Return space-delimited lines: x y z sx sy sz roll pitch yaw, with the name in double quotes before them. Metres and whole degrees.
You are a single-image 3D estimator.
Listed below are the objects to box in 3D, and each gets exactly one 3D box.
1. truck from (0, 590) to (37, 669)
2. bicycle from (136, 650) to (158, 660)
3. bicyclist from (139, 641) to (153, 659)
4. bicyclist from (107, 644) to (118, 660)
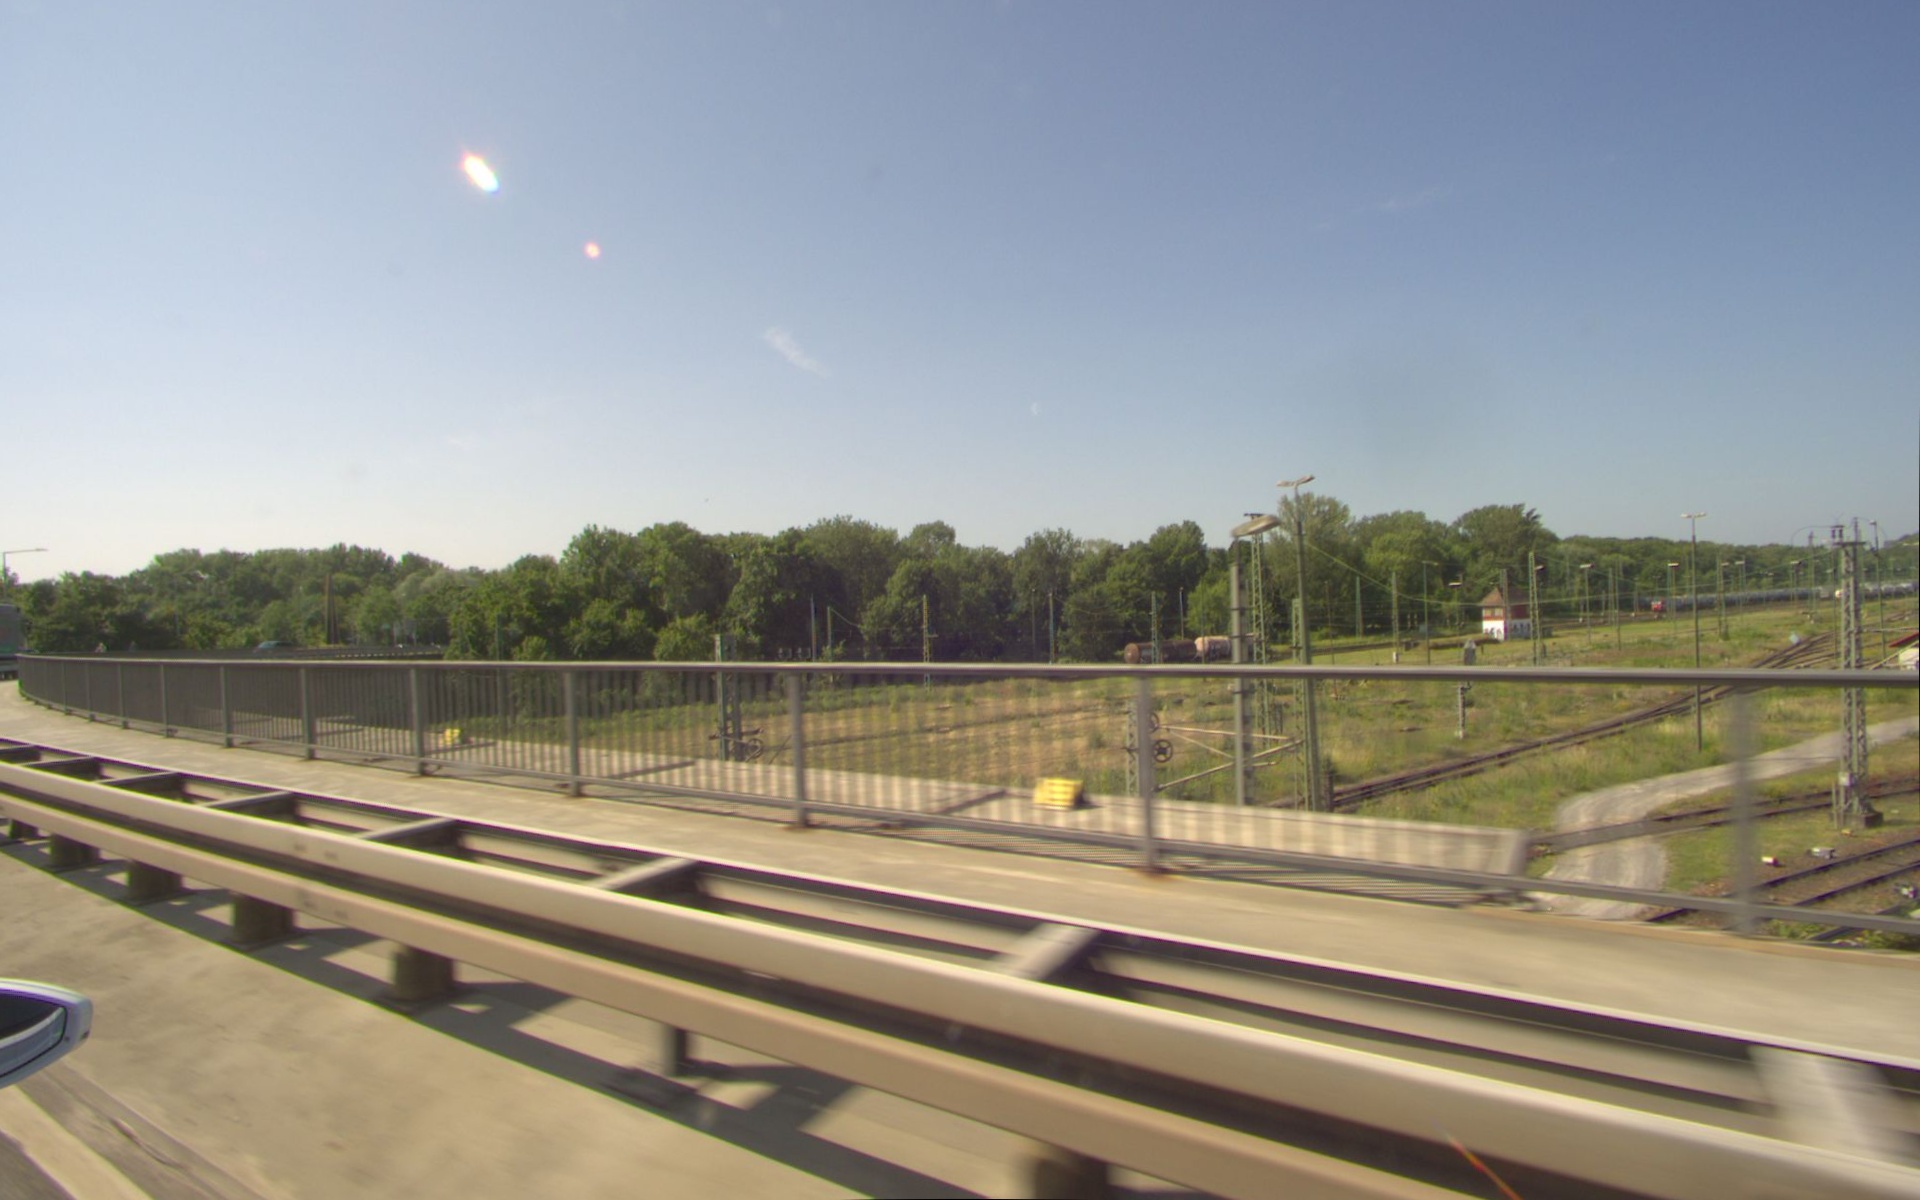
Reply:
"truck" -48.824 1.403 49.454 3.228 3.805 8.321 3 -3 -33
"bicycle" -72.704 4.926 89.548 0.915 0.902 1.964 0 -2 -19
"bicyclist" -72.692 4.443 89.413 0.651 1.516 1.013 0 0 -20
"bicyclist" -72.546 4.454 85.716 0.482 1.345 0.944 0 -3 -23
